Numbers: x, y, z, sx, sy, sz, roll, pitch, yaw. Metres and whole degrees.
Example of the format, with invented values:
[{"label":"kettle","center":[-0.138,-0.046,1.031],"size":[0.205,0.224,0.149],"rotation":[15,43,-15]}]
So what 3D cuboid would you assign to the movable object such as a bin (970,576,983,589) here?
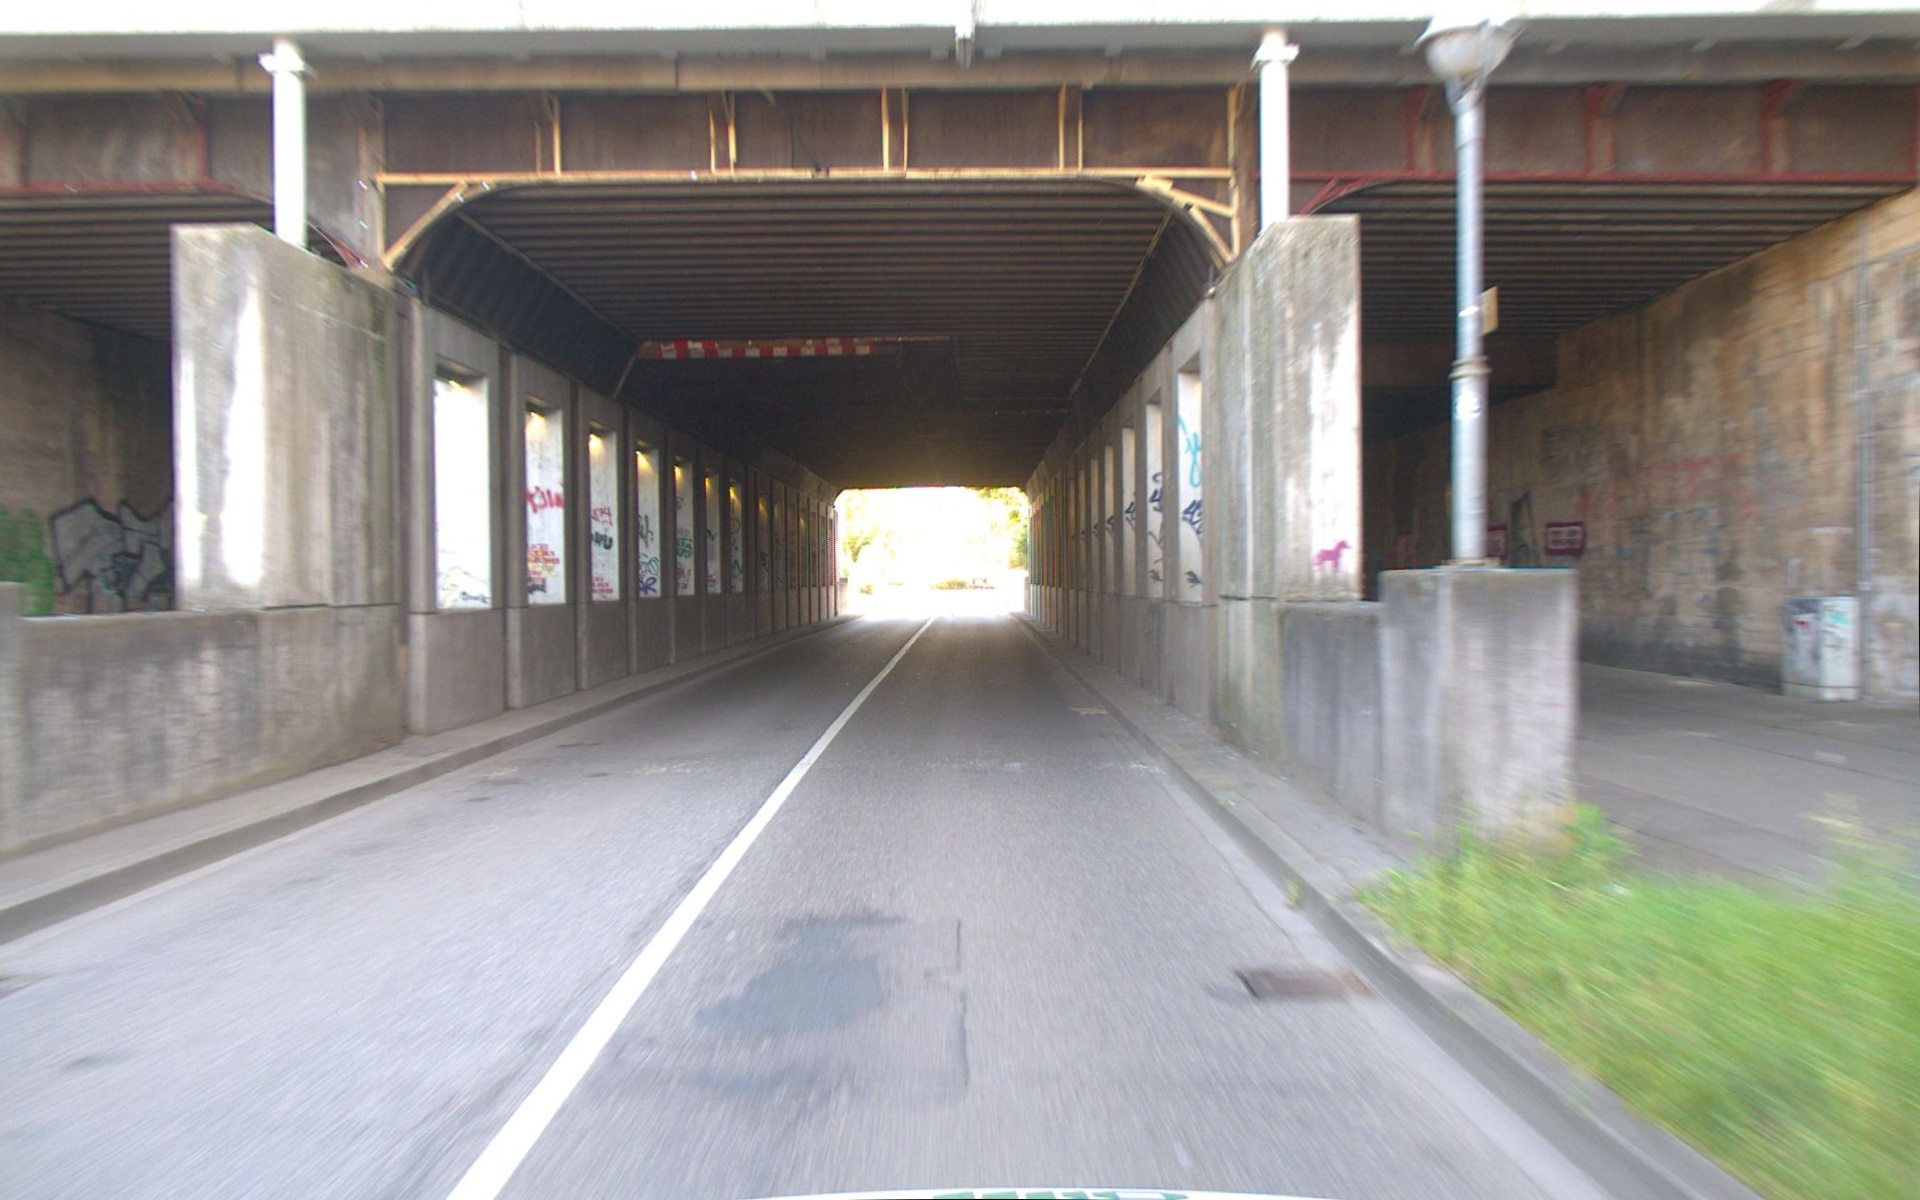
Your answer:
[{"label":"movable object such as a bin","center":[1.836,-1.948,185.541],"size":[1.339,1.443,1.064],"rotation":[1,0,-7]}]

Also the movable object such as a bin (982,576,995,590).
[{"label":"movable object such as a bin","center":[3.238,-1.918,185.712],"size":[1.339,1.443,1.064],"rotation":[1,0,-7]}]
